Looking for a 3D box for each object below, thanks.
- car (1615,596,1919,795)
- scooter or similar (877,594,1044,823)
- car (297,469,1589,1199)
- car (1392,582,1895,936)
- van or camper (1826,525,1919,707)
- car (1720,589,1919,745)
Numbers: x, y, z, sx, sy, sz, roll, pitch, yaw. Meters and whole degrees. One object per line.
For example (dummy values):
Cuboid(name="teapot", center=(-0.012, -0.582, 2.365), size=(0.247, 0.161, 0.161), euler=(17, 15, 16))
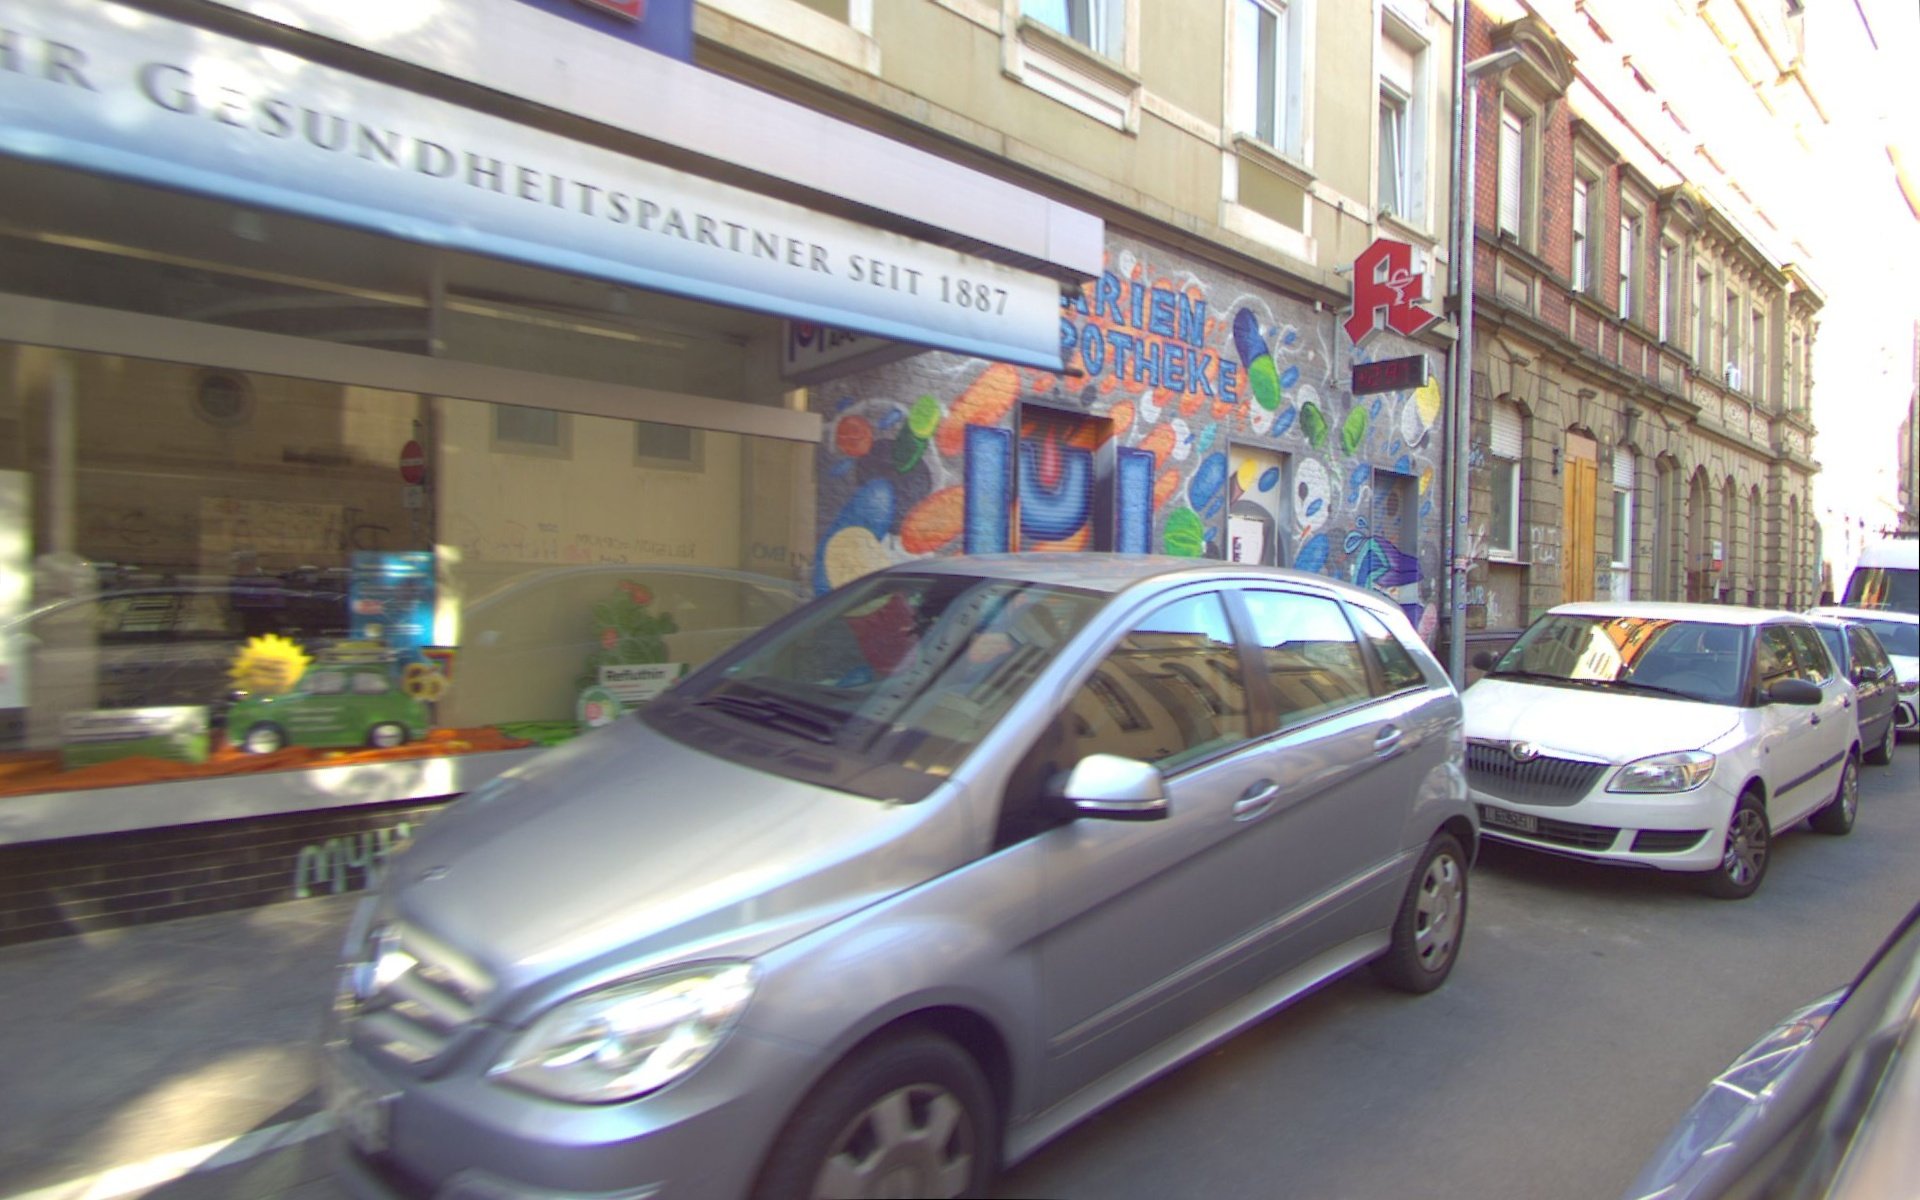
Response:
Cuboid(name="car", center=(7.857, 0.727, 9.609), size=(3.841, 1.505, 1.591), euler=(-1, 0, -38))
Cuboid(name="scooter or similar", center=(0.020, 0.612, 6.237), size=(1.018, 1.296, 0.395), euler=(0, 0, -40))
Cuboid(name="car", center=(0.403, 0.624, 3.553), size=(4.407, 1.671, 1.803), euler=(-1, 0, -40))
Cuboid(name="car", center=(4.469, 0.671, 6.352), size=(4.126, 1.545, 1.557), euler=(-1, 0, -40))
Cuboid(name="van or camper", center=(16.229, 0.205, 16.718), size=(5.873, 2.665, 1.997), euler=(-1, 0, -40))
Cuboid(name="car", center=(11.537, 0.696, 12.918), size=(4.483, 1.667, 1.997), euler=(-1, 0, -40))
